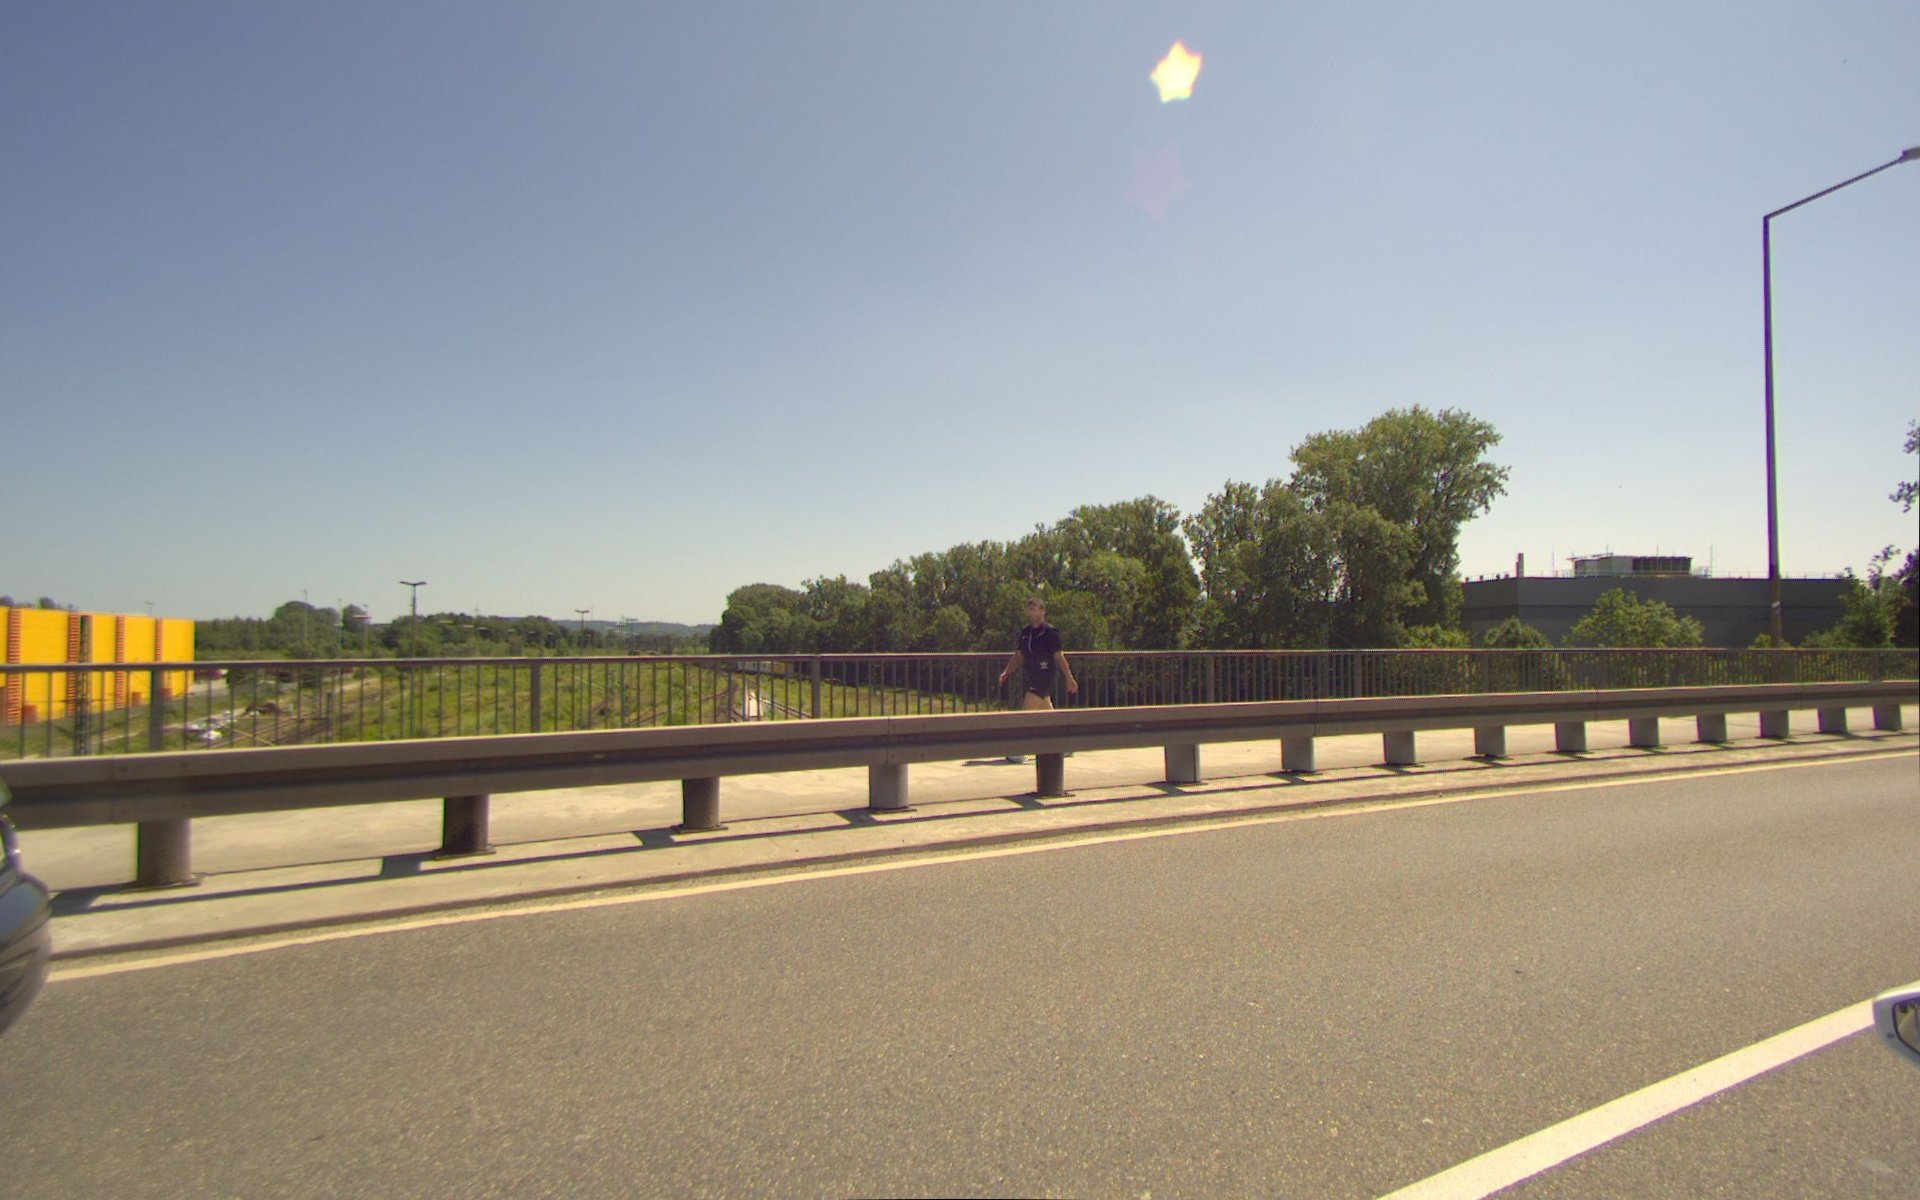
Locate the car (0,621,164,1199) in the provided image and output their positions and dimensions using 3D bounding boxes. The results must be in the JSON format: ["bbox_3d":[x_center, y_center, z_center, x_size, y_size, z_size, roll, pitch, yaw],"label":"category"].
[{"bbox_3d":[-4.242,0.711,1.487,4.521,1.434,1.781,2,-2,-30],"label":"car"}]

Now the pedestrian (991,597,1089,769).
[{"bbox_3d":[0.770,0.785,9.775,0.685,1.582,0.712,1,-2,-27],"label":"pedestrian"}]
